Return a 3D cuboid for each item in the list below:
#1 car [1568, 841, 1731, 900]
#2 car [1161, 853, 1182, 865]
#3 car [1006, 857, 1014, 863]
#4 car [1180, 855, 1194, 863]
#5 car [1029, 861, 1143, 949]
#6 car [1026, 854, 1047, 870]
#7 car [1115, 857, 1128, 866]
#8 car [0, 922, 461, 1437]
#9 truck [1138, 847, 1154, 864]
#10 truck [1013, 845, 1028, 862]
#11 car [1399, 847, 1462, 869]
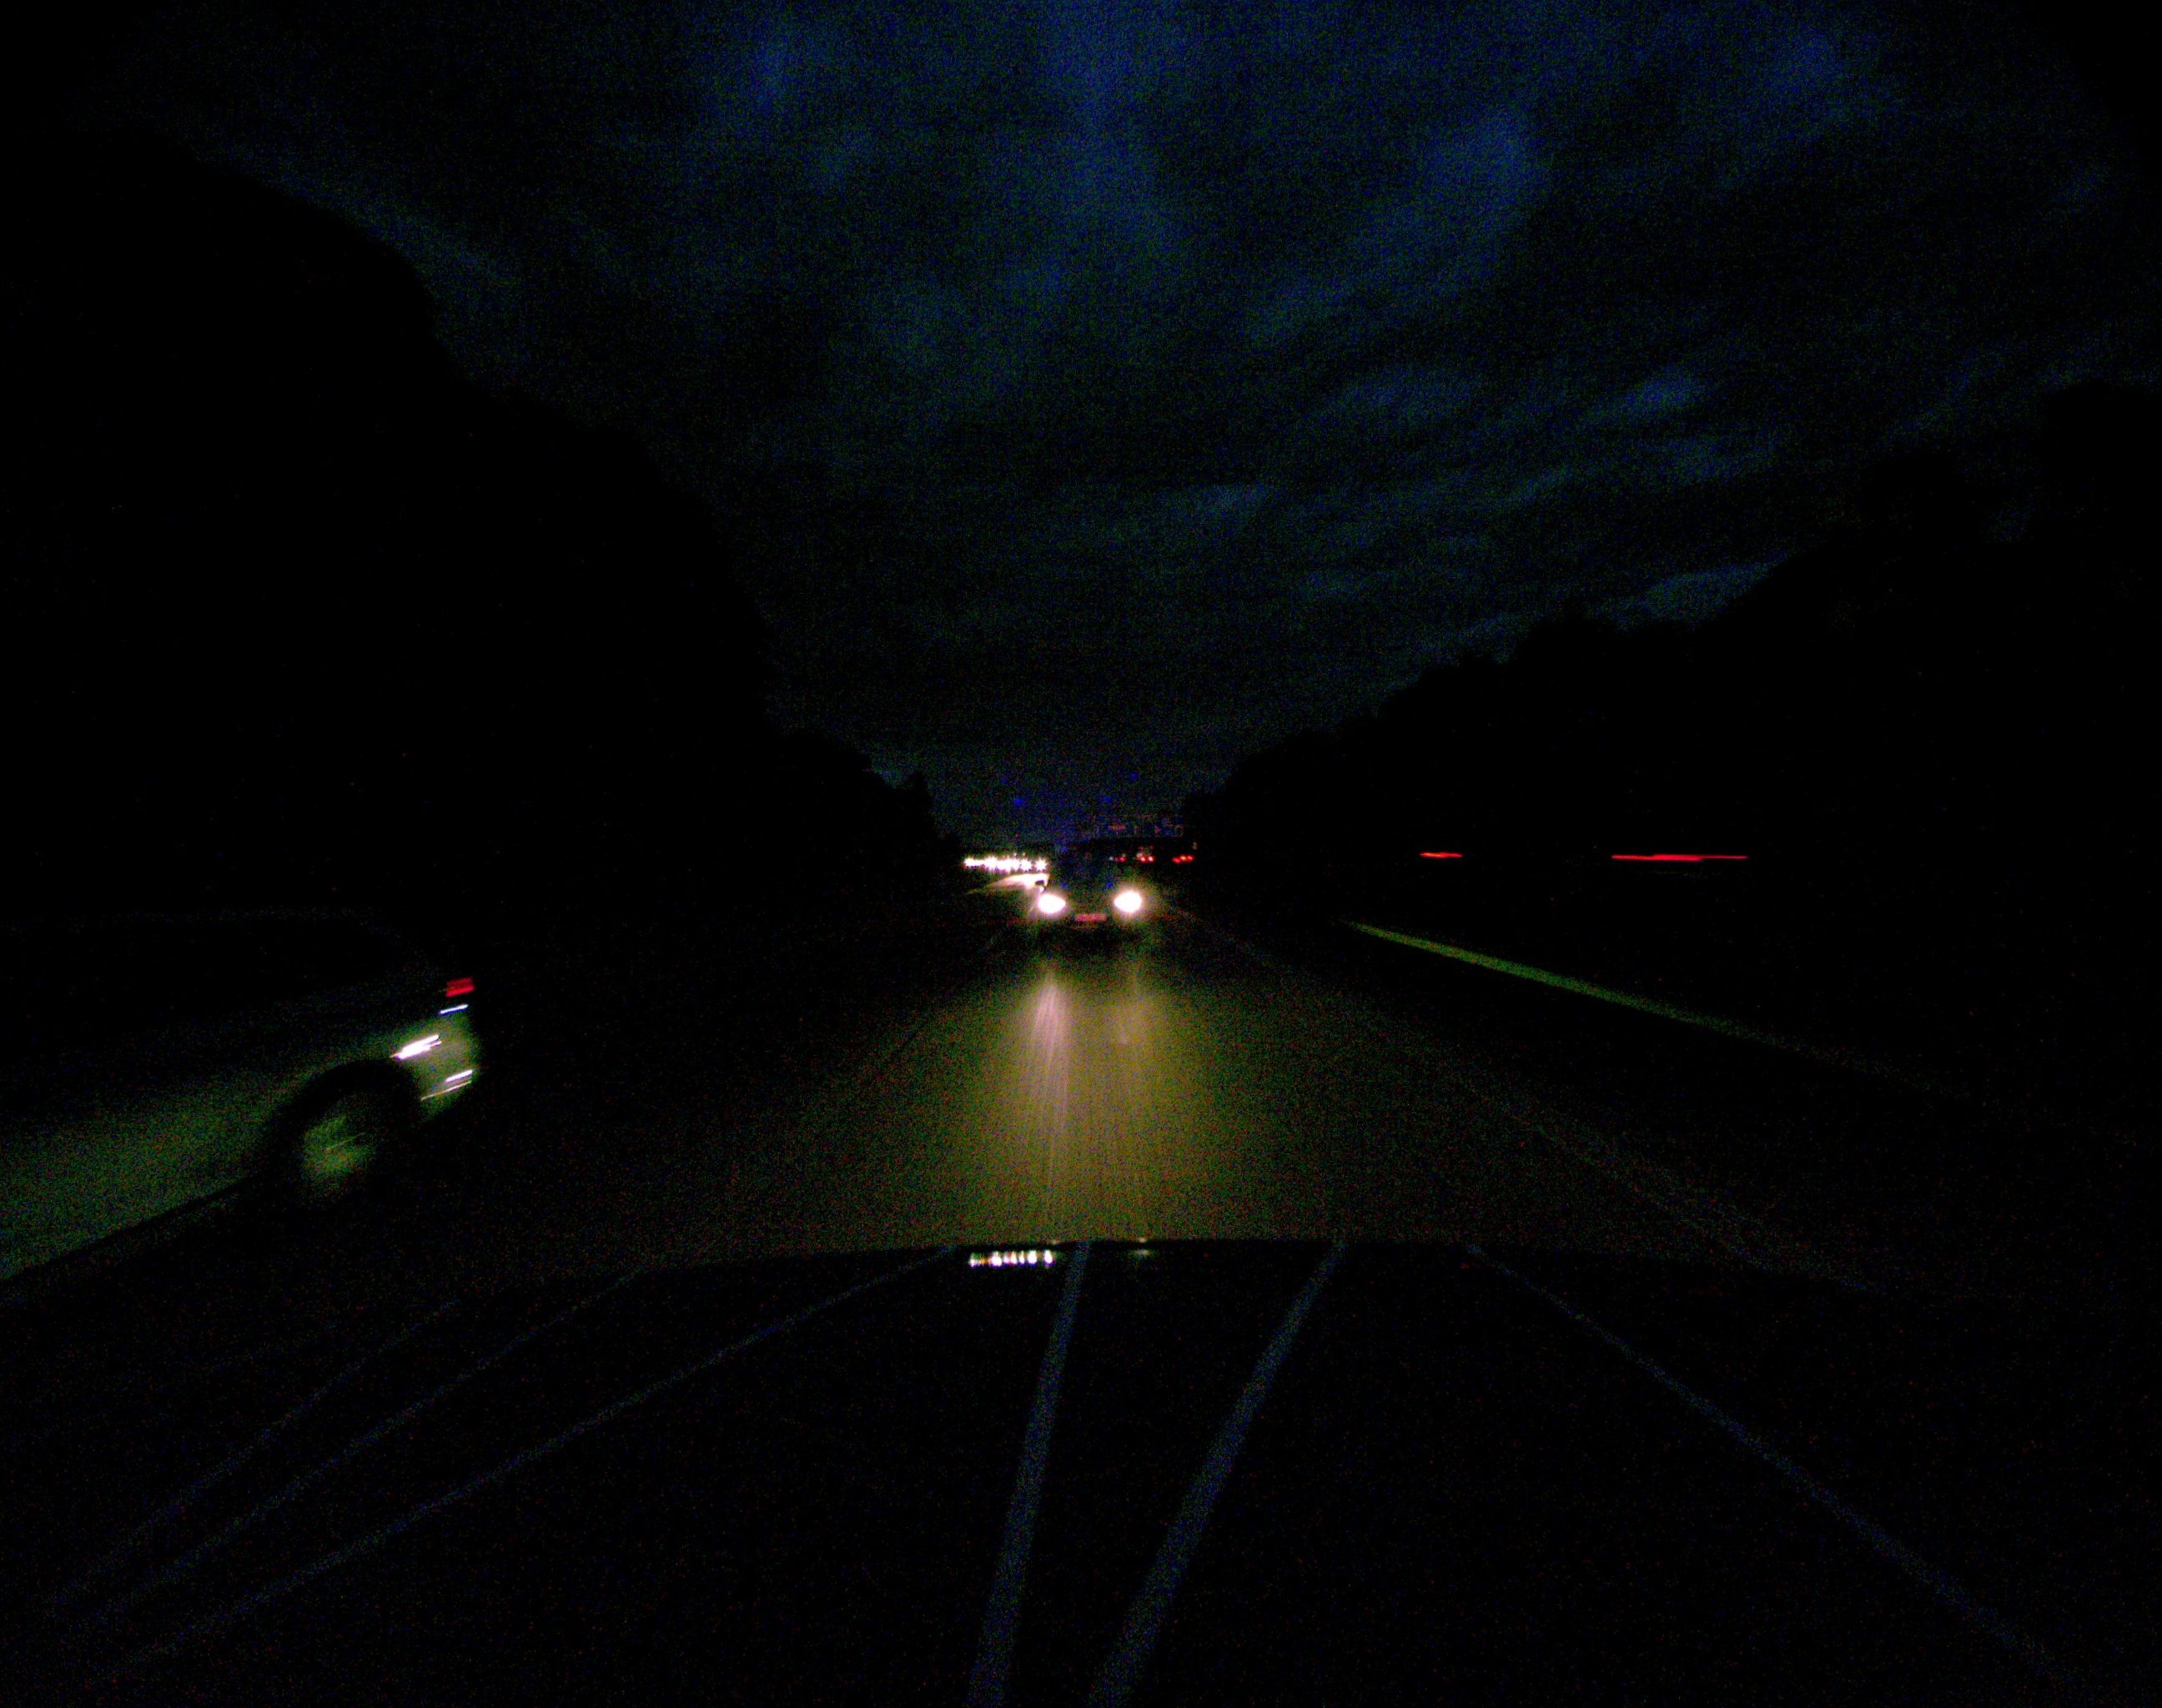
[{"bbox_3d":[15.522,0.421,21.003,1.847,1.446,3.602,-2,0,1],"label":"car"},{"bbox_3d":[10.633,0.593,89.913,1.819,1.372,4.907,-2,0,-1],"label":"car"},{"bbox_3d":[-19.928,1.692,213.962,1.819,1.372,4.043,-2,0,-1],"label":"car"},{"bbox_3d":[19.914,0.959,142.689,1.855,1.488,4.594,-1,0,-2],"label":"car"},{"bbox_3d":[0.124,0.873,14.946,1.879,1.435,4.451,-1,0,1],"label":"car"},{"bbox_3d":[-4.514,0.830,76.859,1.999,1.539,3.999,-1,0,-3],"label":"car"},{"bbox_3d":[8.067,1.433,151.556,1.999,1.695,4.550,-2,0,-2],"label":"car"},{"bbox_3d":[-4.264,1.076,1.492,1.813,1.457,5.133,-2,-1,1],"label":"car"},{"bbox_3d":[16.913,0.421,197.077,2.652,3.987,10.542,-2,0,-3],"label":"truck"},{"bbox_3d":[-15.063,-0.099,190.305,3.145,3.987,10.543,-2,0,-1],"label":"truck"},{"bbox_3d":[23.005,0.252,50.224,1.819,1.372,4.907,-2,0,-1],"label":"car"}]
